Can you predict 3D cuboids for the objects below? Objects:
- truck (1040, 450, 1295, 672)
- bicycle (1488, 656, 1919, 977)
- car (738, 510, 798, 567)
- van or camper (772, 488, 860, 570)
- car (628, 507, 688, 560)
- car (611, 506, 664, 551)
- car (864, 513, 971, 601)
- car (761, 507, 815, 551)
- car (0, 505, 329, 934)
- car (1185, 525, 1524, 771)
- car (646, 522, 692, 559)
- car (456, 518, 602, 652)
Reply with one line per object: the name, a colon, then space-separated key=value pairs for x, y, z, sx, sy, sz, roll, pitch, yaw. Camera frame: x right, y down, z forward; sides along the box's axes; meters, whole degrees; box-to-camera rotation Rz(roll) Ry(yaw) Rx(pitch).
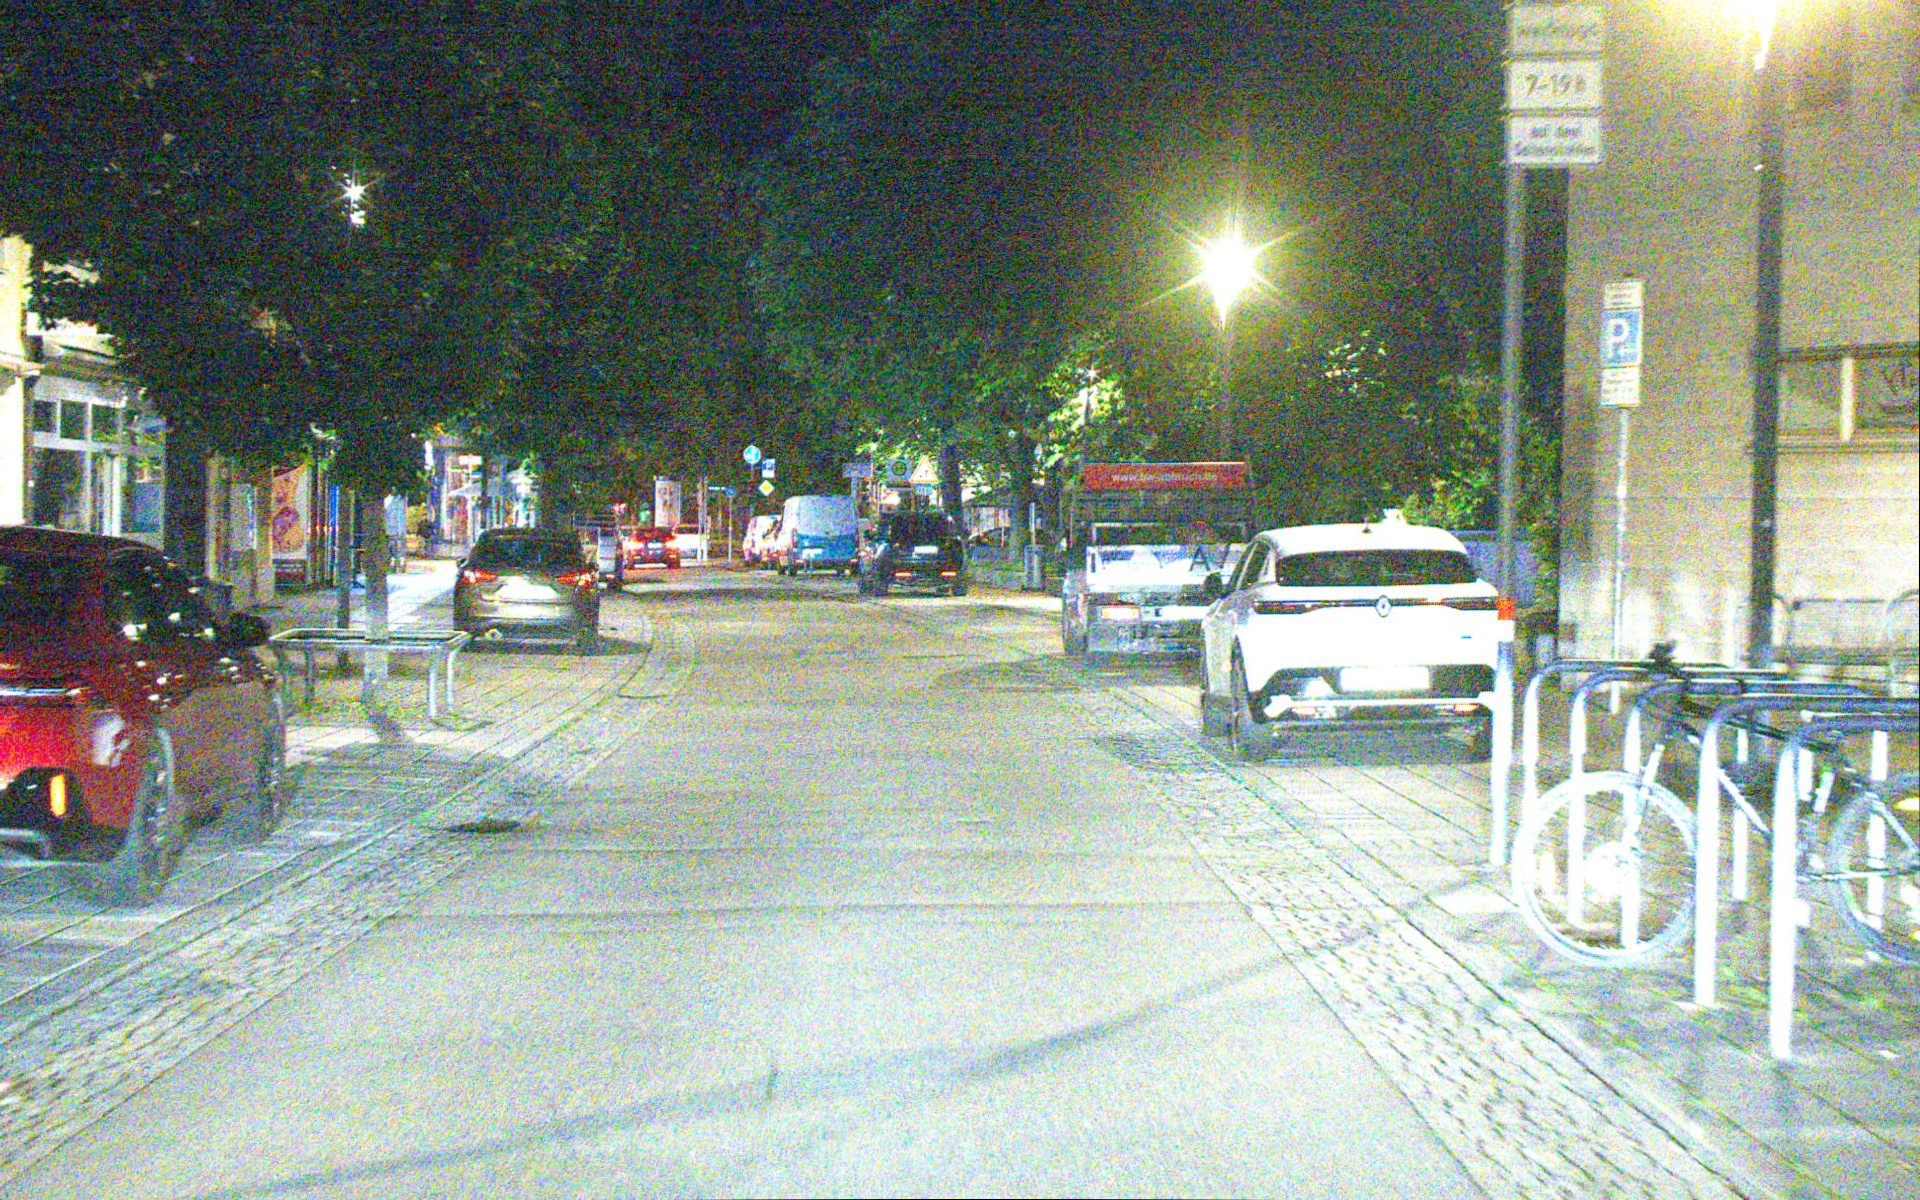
truck: x=2.228 y=-0.478 z=38.618 sx=2.336 sy=2.304 sz=5.781 roll=0 pitch=1 yaw=-2
bicycle: x=2.703 y=0.729 z=11.677 sx=1.754 sy=1.058 sz=0.346 roll=0 pitch=1 yaw=-3
car: x=-6.644 y=-2.138 z=118.516 sx=1.839 sy=1.894 sz=3.846 roll=0 pitch=1 yaw=-6
van or camper: x=-4.207 y=-2.078 z=99.903 sx=2.108 sy=2.309 sz=4.263 roll=-1 pitch=1 yaw=-8
car: x=-10.603 y=-2.340 z=120.441 sx=1.993 sy=1.817 sz=4.001 roll=1 pitch=1 yaw=-6
car: x=-12.610 y=-2.784 z=134.140 sx=1.993 sy=1.697 sz=4.001 roll=1 pitch=1 yaw=-6
car: x=-0.955 y=-0.950 z=73.984 sx=1.814 sy=1.822 sz=4.348 roll=0 pitch=1 yaw=-7
car: x=-5.635 y=-2.324 z=112.571 sx=1.531 sy=1.413 sz=3.846 roll=0 pitch=1 yaw=-6
car: x=-4.189 y=0.357 z=14.991 sx=2.019 sy=1.483 sz=5.008 roll=4 pitch=1 yaw=-2
car: x=2.564 y=0.253 z=23.210 sx=1.789 sy=1.486 sz=4.059 roll=-1 pitch=1 yaw=0
car: x=-12.356 y=-2.532 z=146.029 sx=1.839 sy=1.537 sz=3.846 roll=0 pitch=1 yaw=-6
car: x=-5.371 y=-0.222 z=42.895 sx=1.673 sy=1.538 sz=4.231 roll=2 pitch=1 yaw=-7
